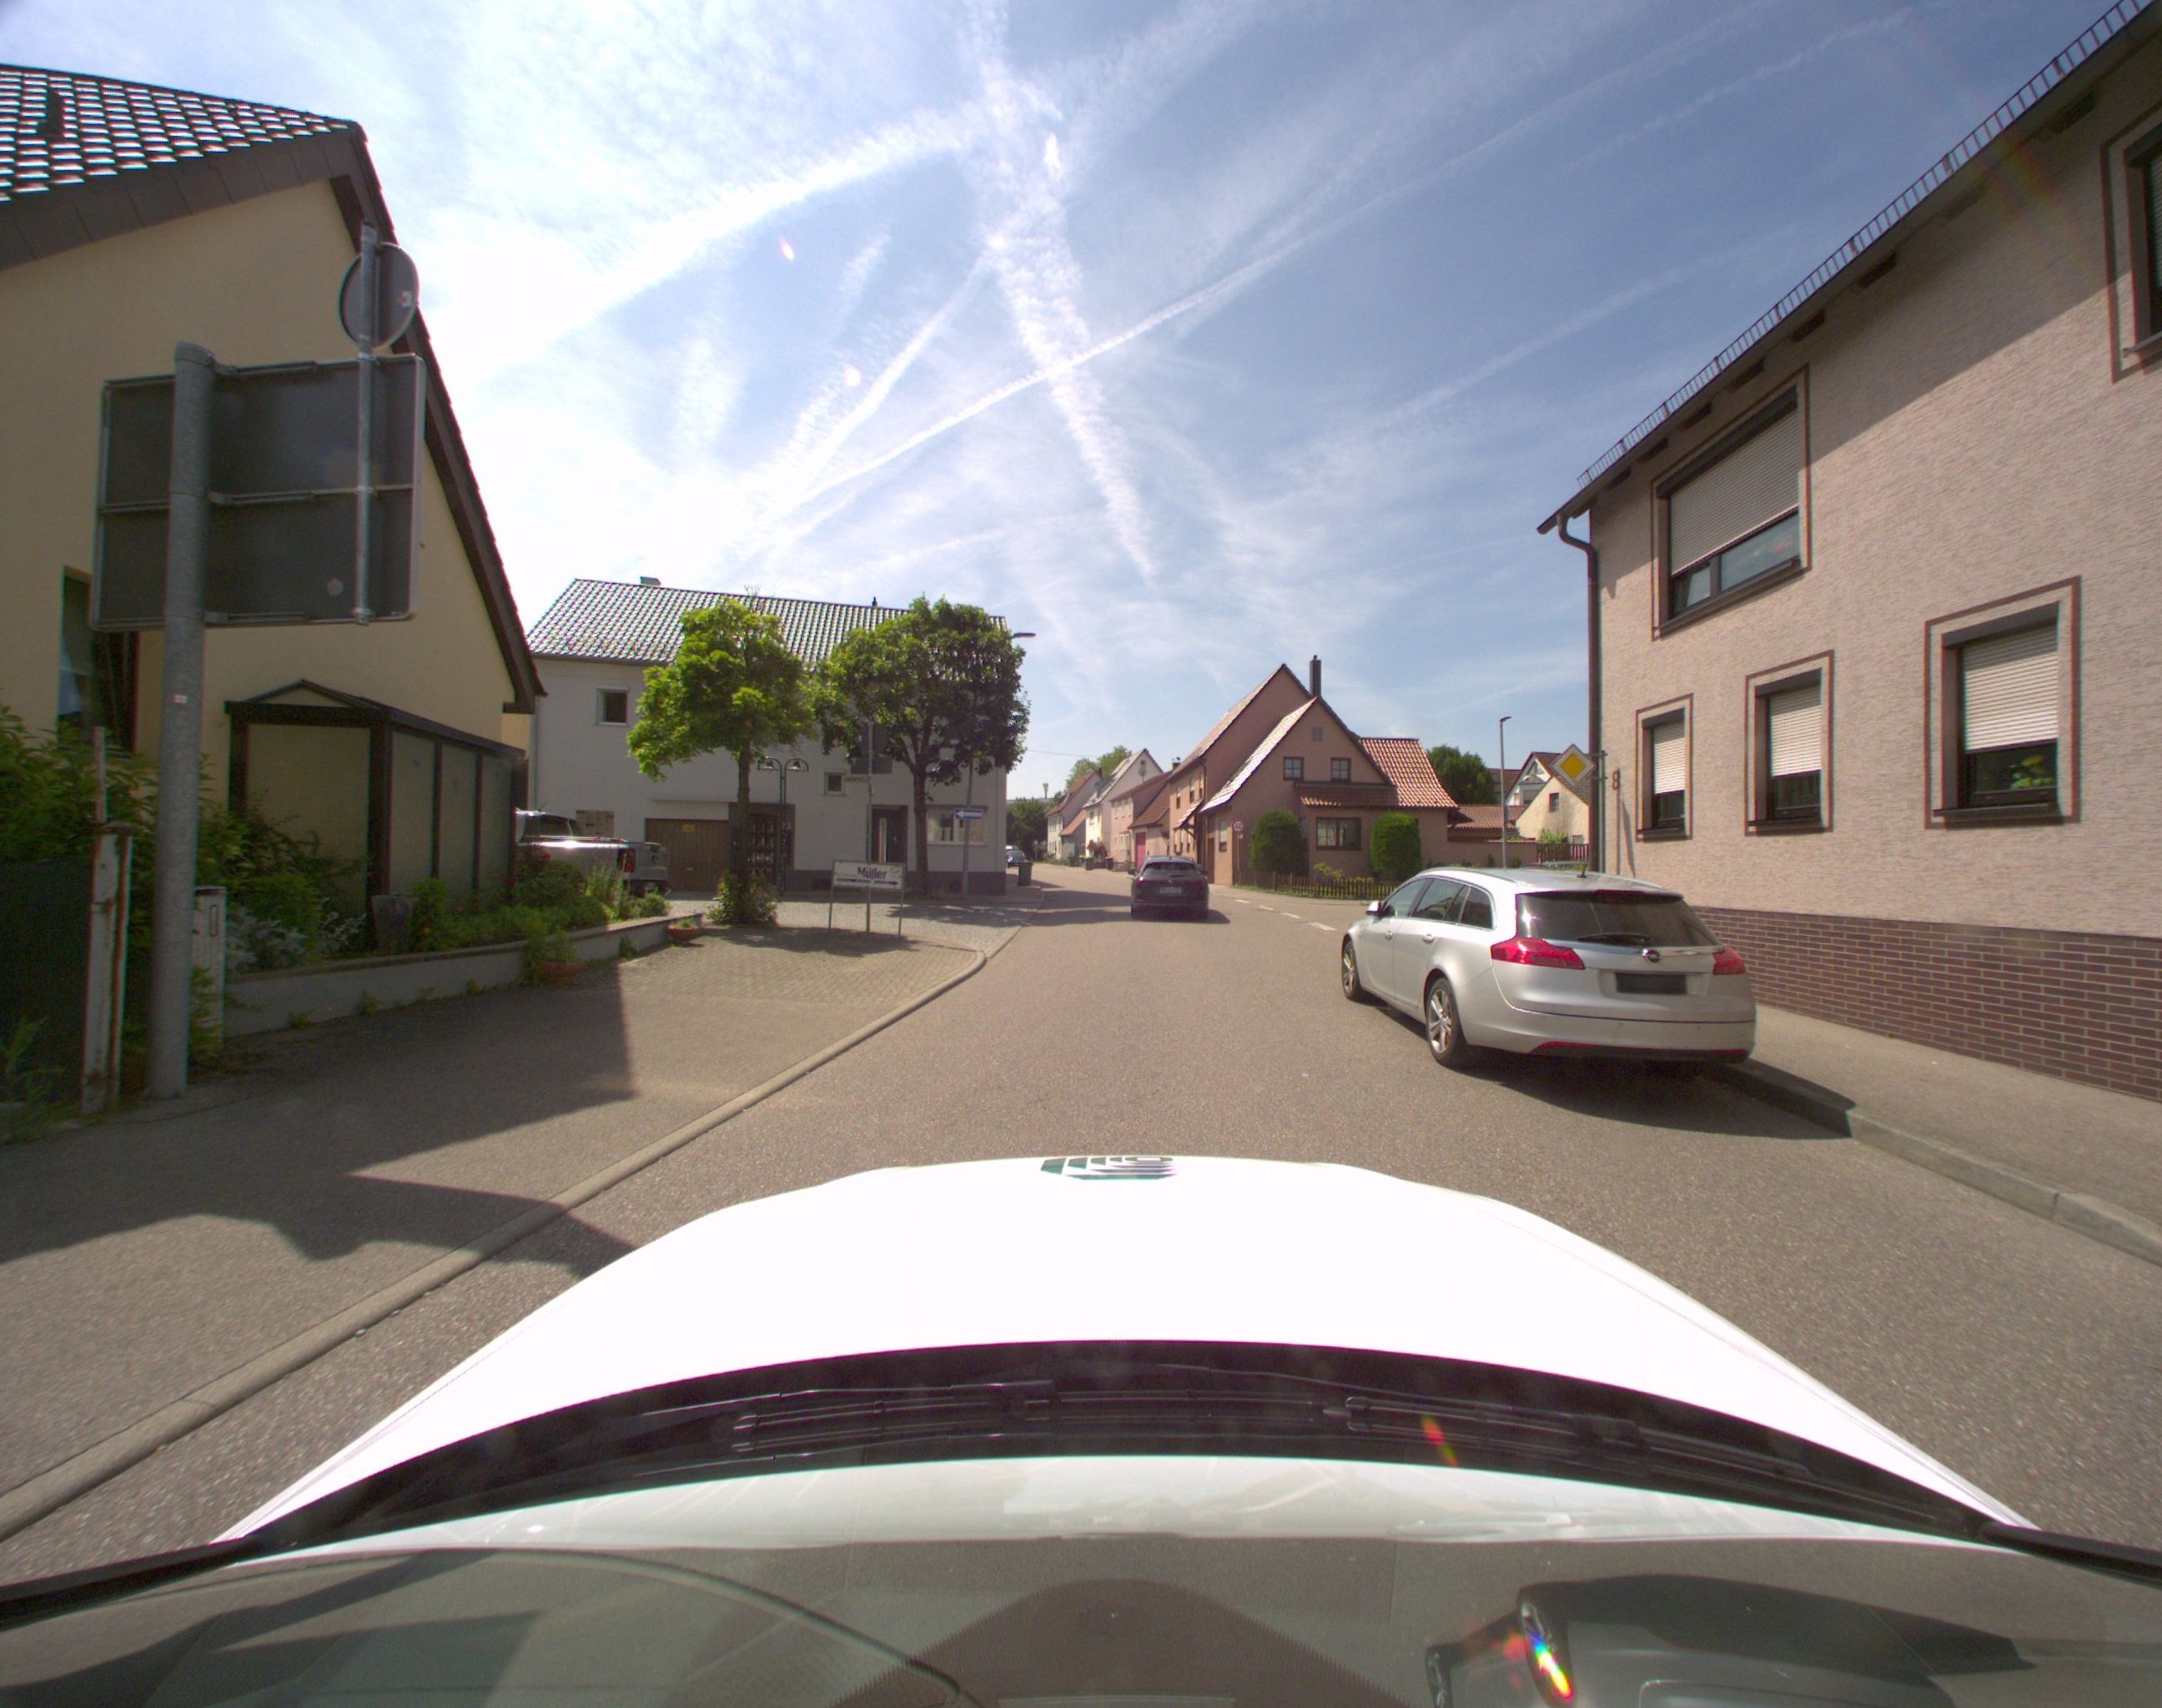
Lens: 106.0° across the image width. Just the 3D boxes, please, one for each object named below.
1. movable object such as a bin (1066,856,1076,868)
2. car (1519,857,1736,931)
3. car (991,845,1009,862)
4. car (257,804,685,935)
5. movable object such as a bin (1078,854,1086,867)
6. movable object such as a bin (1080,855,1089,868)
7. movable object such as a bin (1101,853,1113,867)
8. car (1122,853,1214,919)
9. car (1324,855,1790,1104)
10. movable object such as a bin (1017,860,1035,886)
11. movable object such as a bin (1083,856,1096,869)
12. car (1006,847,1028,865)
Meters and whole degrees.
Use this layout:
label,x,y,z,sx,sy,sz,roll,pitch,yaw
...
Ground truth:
label,x,y,z,sx,sy,sz,roll,pitch,yaw
movable object such as a bin,-0.951,0.737,76.735,0.679,1.155,0.816,1,0,-15
car,11.953,0.824,17.907,3.807,1.488,1.882,0,0,-13
car,-12.187,-0.079,122.247,2.107,2.562,5.827,0,0,0
car,-9.527,0.237,13.203,5.100,1.896,2.170,0,0,-7
movable object such as a bin,0.120,0.593,76.862,0.665,1.194,0.658,1,0,-11
movable object such as a bin,0.317,0.696,75.907,0.665,1.194,0.585,1,0,-11
movable object such as a bin,2.143,0.477,66.969,0.679,1.050,0.831,-4,1,-15
car,2.259,0.743,20.082,1.829,1.420,4.696,-1,-1,11
car,3.574,0.775,7.200,1.778,1.442,4.341,1,1,3
movable object such as a bin,-2.358,0.810,34.708,0.752,1.060,0.678,1,0,-5
movable object such as a bin,0.693,0.700,67.661,0.877,1.074,0.868,-4,1,-15
car,-5.778,0.182,73.250,1.797,1.555,4.062,-1,1,-6
